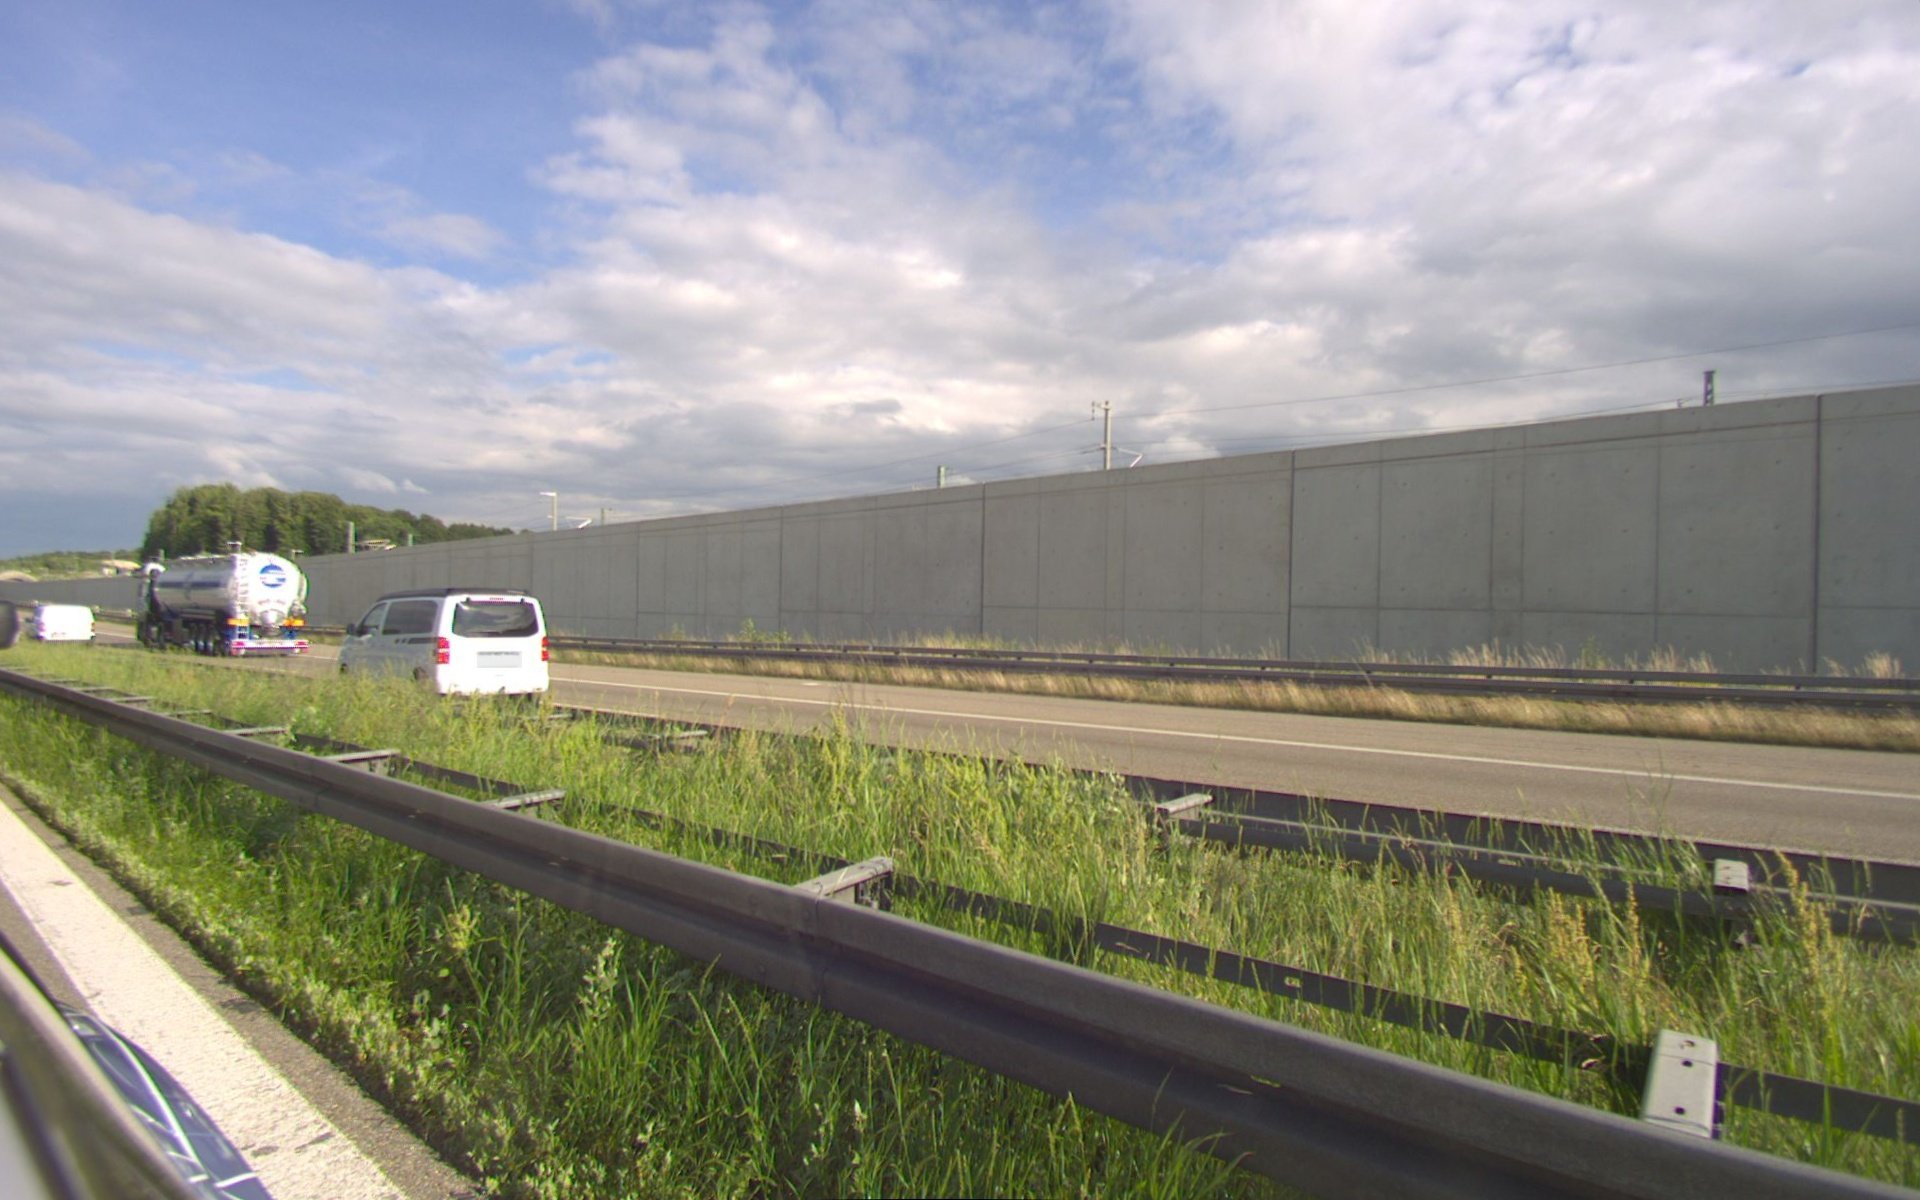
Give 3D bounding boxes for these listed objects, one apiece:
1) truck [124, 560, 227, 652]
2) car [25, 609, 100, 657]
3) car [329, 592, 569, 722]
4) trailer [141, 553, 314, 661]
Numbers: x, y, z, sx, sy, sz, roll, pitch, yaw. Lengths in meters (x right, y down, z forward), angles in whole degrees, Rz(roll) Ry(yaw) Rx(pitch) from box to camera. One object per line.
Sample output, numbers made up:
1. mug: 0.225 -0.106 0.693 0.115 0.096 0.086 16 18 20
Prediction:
1. truck: -35.039 0.303 45.177 5.414 3.827 2.526 -1 -2 41
2. car: -36.933 1.305 41.600 4.279 1.847 1.840 -1 0 42
3. car: -8.791 0.891 17.222 4.785 1.898 1.972 -1 -3 41
4. trailer: -29.732 0.325 40.730 12.529 3.799 2.515 0 -2 40
